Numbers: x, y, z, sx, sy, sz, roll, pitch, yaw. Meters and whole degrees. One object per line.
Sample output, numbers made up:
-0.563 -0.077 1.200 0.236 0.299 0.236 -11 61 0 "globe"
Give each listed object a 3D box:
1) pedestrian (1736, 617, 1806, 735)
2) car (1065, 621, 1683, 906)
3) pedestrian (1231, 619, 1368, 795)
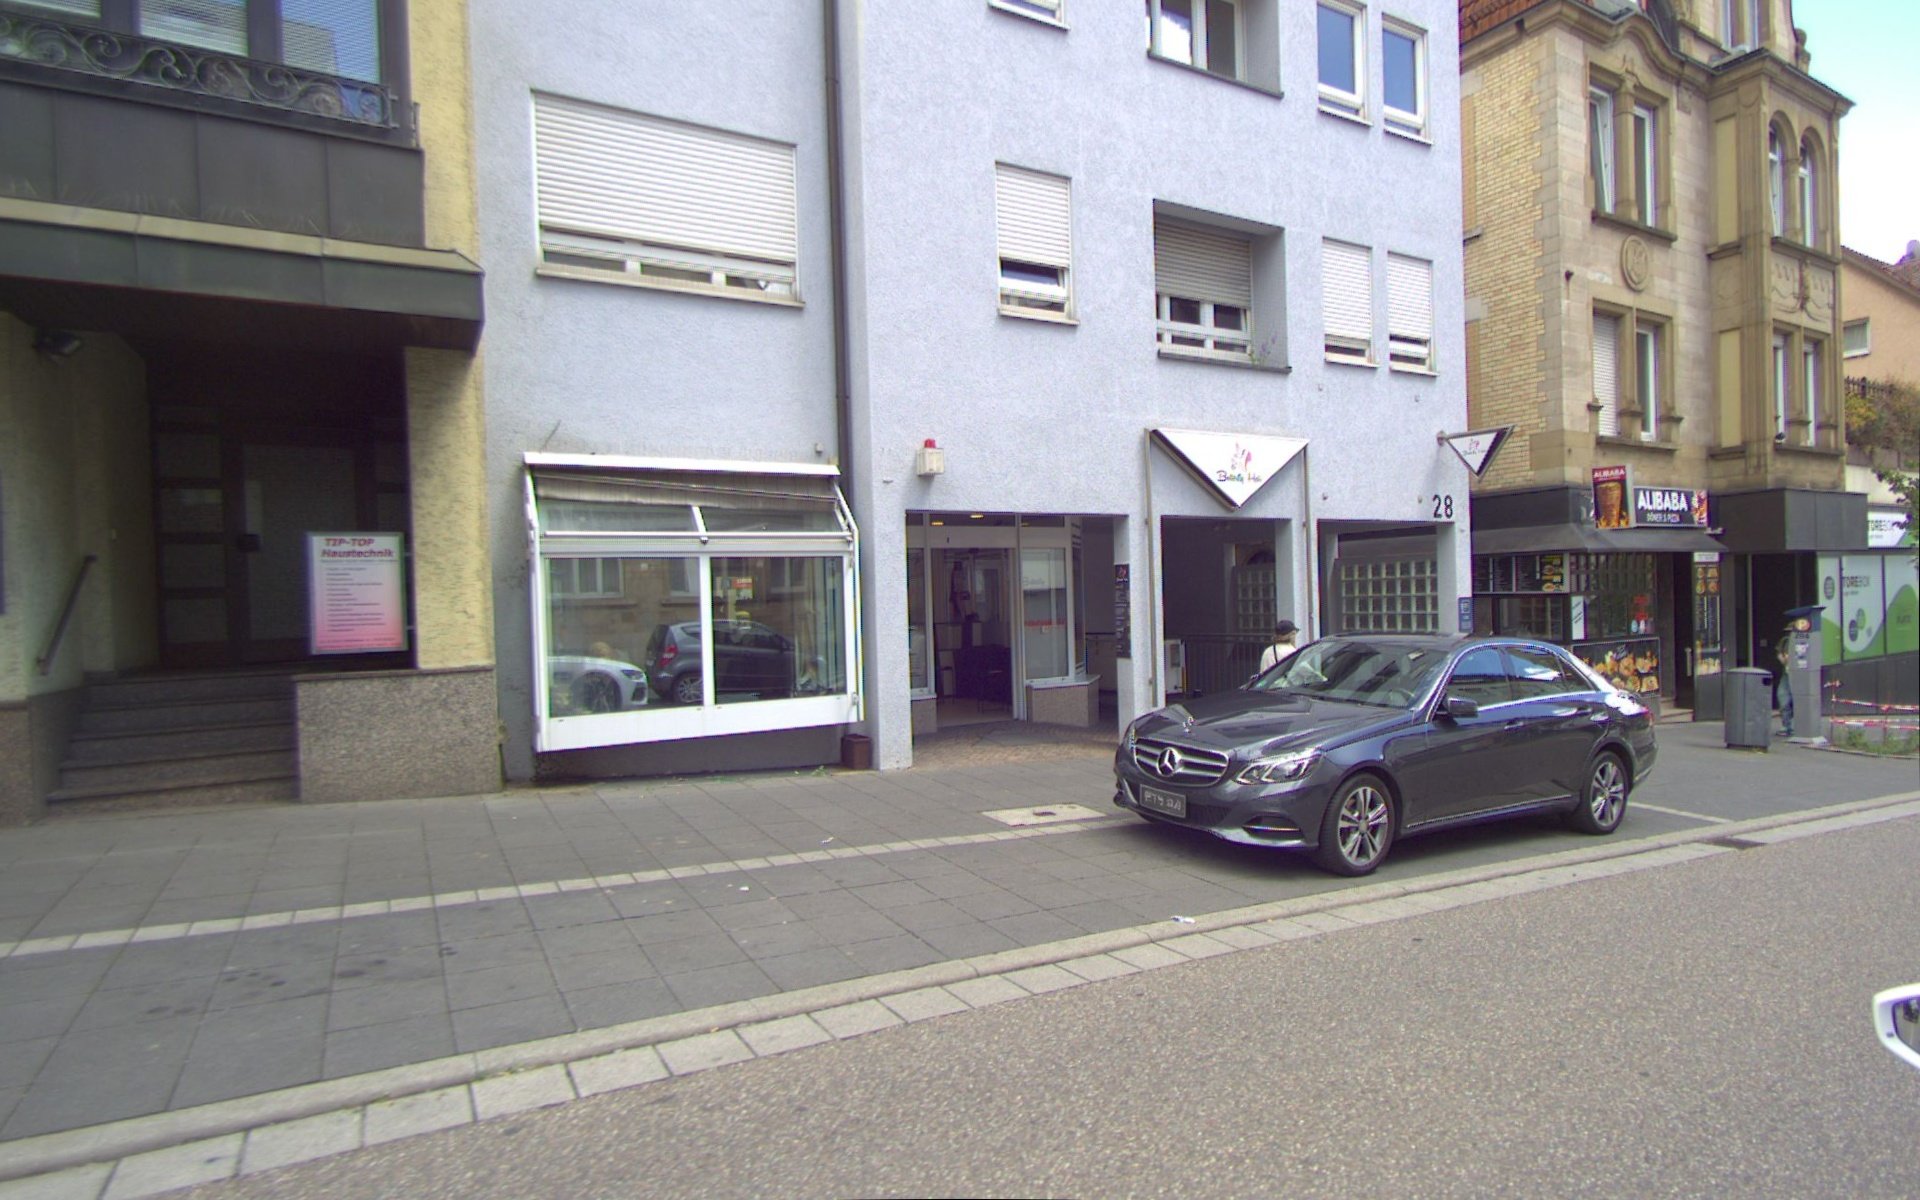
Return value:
12.422 1.150 15.393 0.702 1.736 0.584 2 1 -31 "pedestrian"
3.305 0.986 7.691 4.788 1.512 1.916 2 1 -32 "car"
3.098 0.942 9.207 0.800 1.483 0.821 2 1 -31 "pedestrian"
